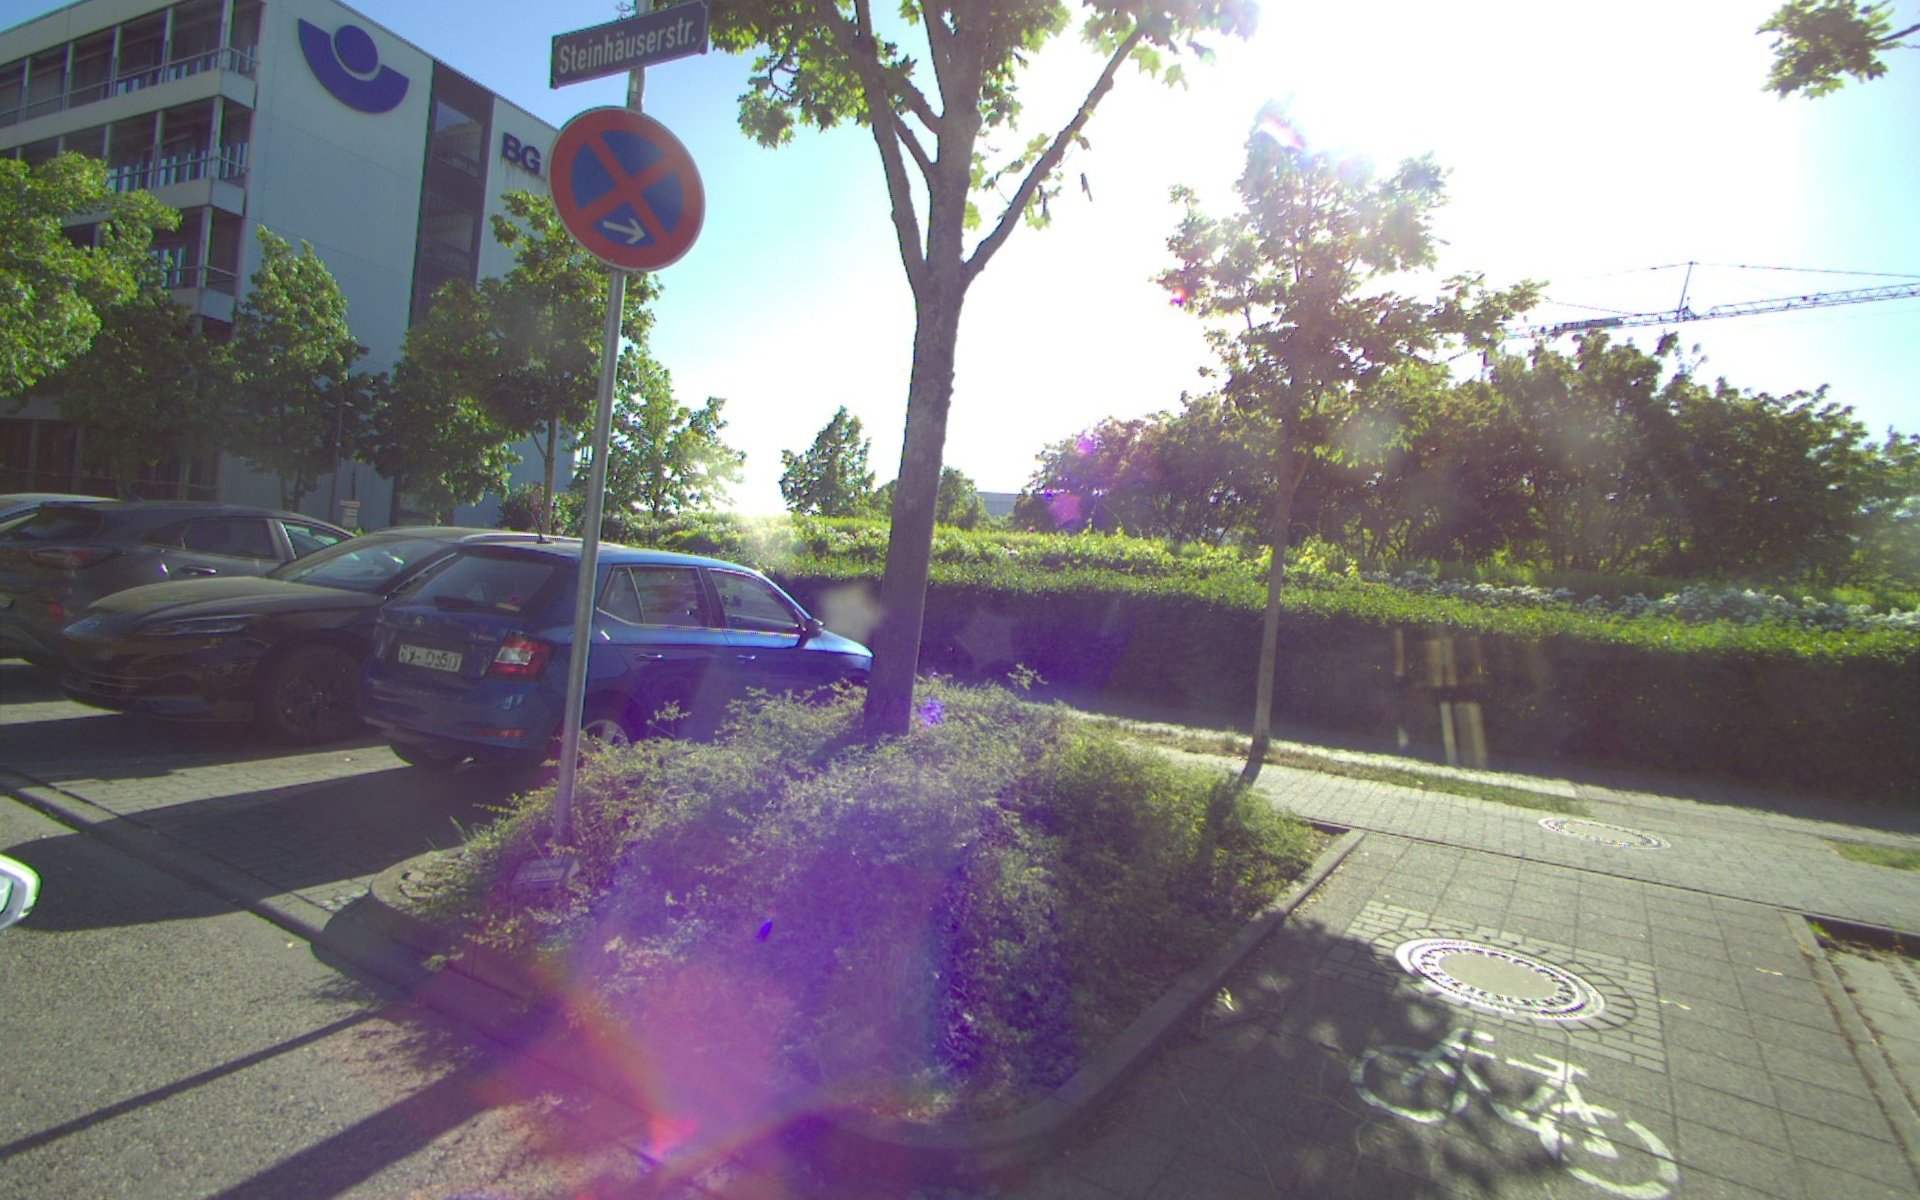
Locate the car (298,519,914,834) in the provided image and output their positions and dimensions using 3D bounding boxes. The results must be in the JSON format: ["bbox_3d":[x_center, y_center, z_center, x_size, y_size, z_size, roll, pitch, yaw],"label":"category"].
[{"bbox_3d":[-2.088,0.312,6.952,1.715,1.469,3.804,6,4,29],"label":"car"}]

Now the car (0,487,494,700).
[{"bbox_3d":[-6.643,-0.098,9.386,1.720,1.535,3.877,6,2,28],"label":"car"}]

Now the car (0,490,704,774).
[{"bbox_3d":[-4.487,0.136,8.120,2.121,1.535,4.552,5,2,28],"label":"car"}]

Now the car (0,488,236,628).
[{"bbox_3d":[-11.106,-0.530,11.787,1.670,1.535,3.954,5,2,22],"label":"car"}]

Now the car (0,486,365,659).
[{"bbox_3d":[-8.951,-0.320,10.390,1.946,1.535,4.557,5,2,22],"label":"car"}]

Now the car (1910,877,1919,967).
[{"bbox_3d":[4.096,1.054,2.608,1.616,1.449,4.083,6,4,34],"label":"car"}]
